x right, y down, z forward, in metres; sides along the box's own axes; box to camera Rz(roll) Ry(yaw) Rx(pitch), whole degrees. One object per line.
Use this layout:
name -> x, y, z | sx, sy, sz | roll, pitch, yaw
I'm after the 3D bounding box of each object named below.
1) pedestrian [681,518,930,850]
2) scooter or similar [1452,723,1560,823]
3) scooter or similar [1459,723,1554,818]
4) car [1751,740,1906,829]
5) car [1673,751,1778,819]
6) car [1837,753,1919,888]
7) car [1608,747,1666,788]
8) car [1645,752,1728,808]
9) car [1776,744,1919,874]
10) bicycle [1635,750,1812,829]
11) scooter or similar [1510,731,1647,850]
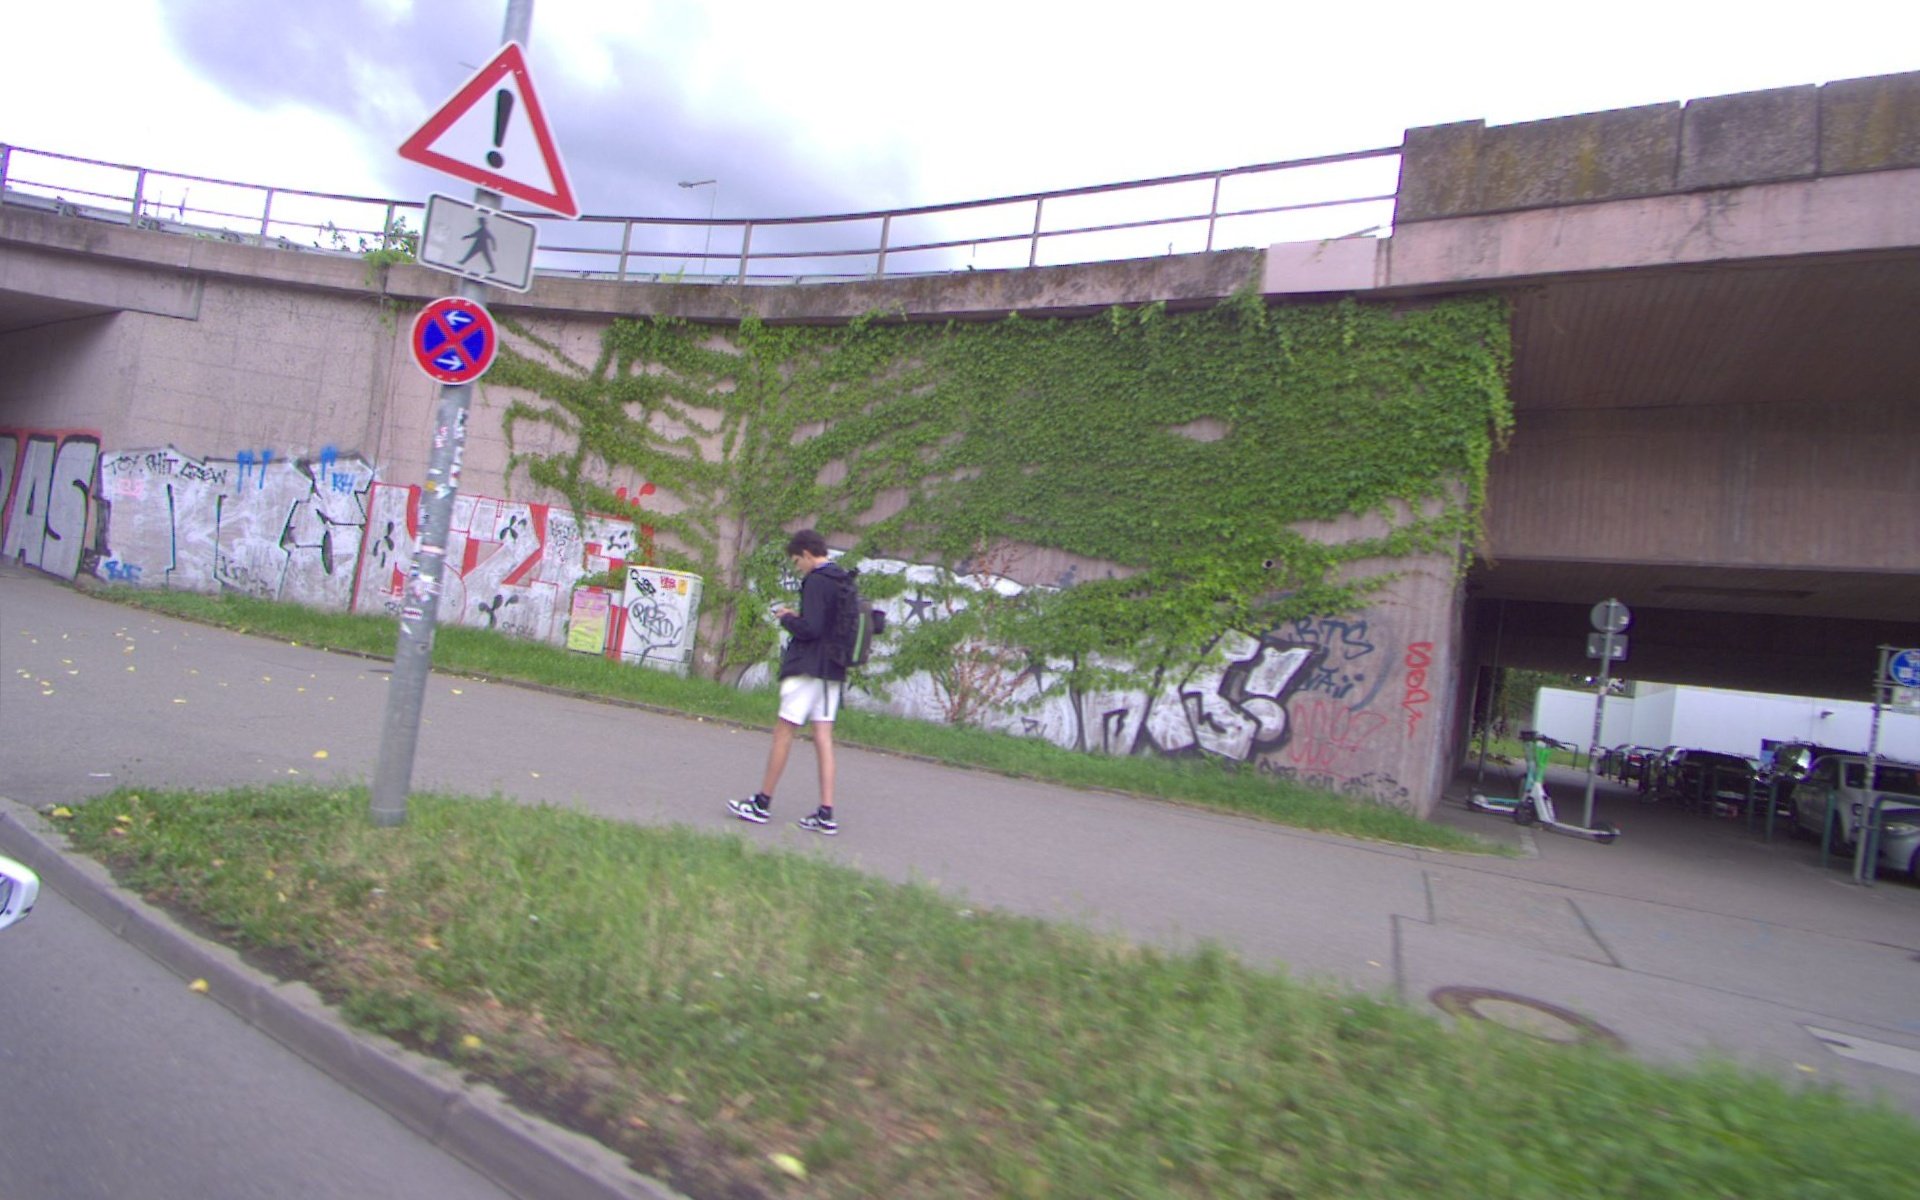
pedestrian -> -1.004, 0.501, 6.595 | 1.161, 1.903, 0.820 | 7, 1, 30
scooter or similar -> 7.507, 2.372, 13.835 | 1.200, 1.170, 0.350 | 8, -1, -6
scooter or similar -> 8.135, 2.534, 14.991 | 1.065, 1.218, 0.382 | 8, -1, 2
car -> 21.174, 4.439, 24.717 | 1.643, 1.596, 4.002 | 7, -2, 24
car -> 18.247, 4.369, 24.098 | 1.356, 1.125, 3.319 | 10, -1, 29
car -> 12.961, 2.808, 11.252 | 4.401, 1.402, 1.640 | 6, -2, 31
car -> 25.904, 6.385, 38.551 | 1.356, 1.125, 3.319 | 10, -1, 29
car -> 20.806, 5.115, 28.907 | 1.356, 1.125, 3.319 | 10, -1, 29
car -> 13.929, 3.139, 15.237 | 1.601, 1.519, 3.615 | 10, -1, 29
bicycle -> 15.819, 3.899, 20.973 | 2.721, 1.081, 1.138 | 6, -1, 31
scooter or similar -> 7.573, 2.310, 12.374 | 0.324, 1.170, 1.383 | 8, -2, -24
